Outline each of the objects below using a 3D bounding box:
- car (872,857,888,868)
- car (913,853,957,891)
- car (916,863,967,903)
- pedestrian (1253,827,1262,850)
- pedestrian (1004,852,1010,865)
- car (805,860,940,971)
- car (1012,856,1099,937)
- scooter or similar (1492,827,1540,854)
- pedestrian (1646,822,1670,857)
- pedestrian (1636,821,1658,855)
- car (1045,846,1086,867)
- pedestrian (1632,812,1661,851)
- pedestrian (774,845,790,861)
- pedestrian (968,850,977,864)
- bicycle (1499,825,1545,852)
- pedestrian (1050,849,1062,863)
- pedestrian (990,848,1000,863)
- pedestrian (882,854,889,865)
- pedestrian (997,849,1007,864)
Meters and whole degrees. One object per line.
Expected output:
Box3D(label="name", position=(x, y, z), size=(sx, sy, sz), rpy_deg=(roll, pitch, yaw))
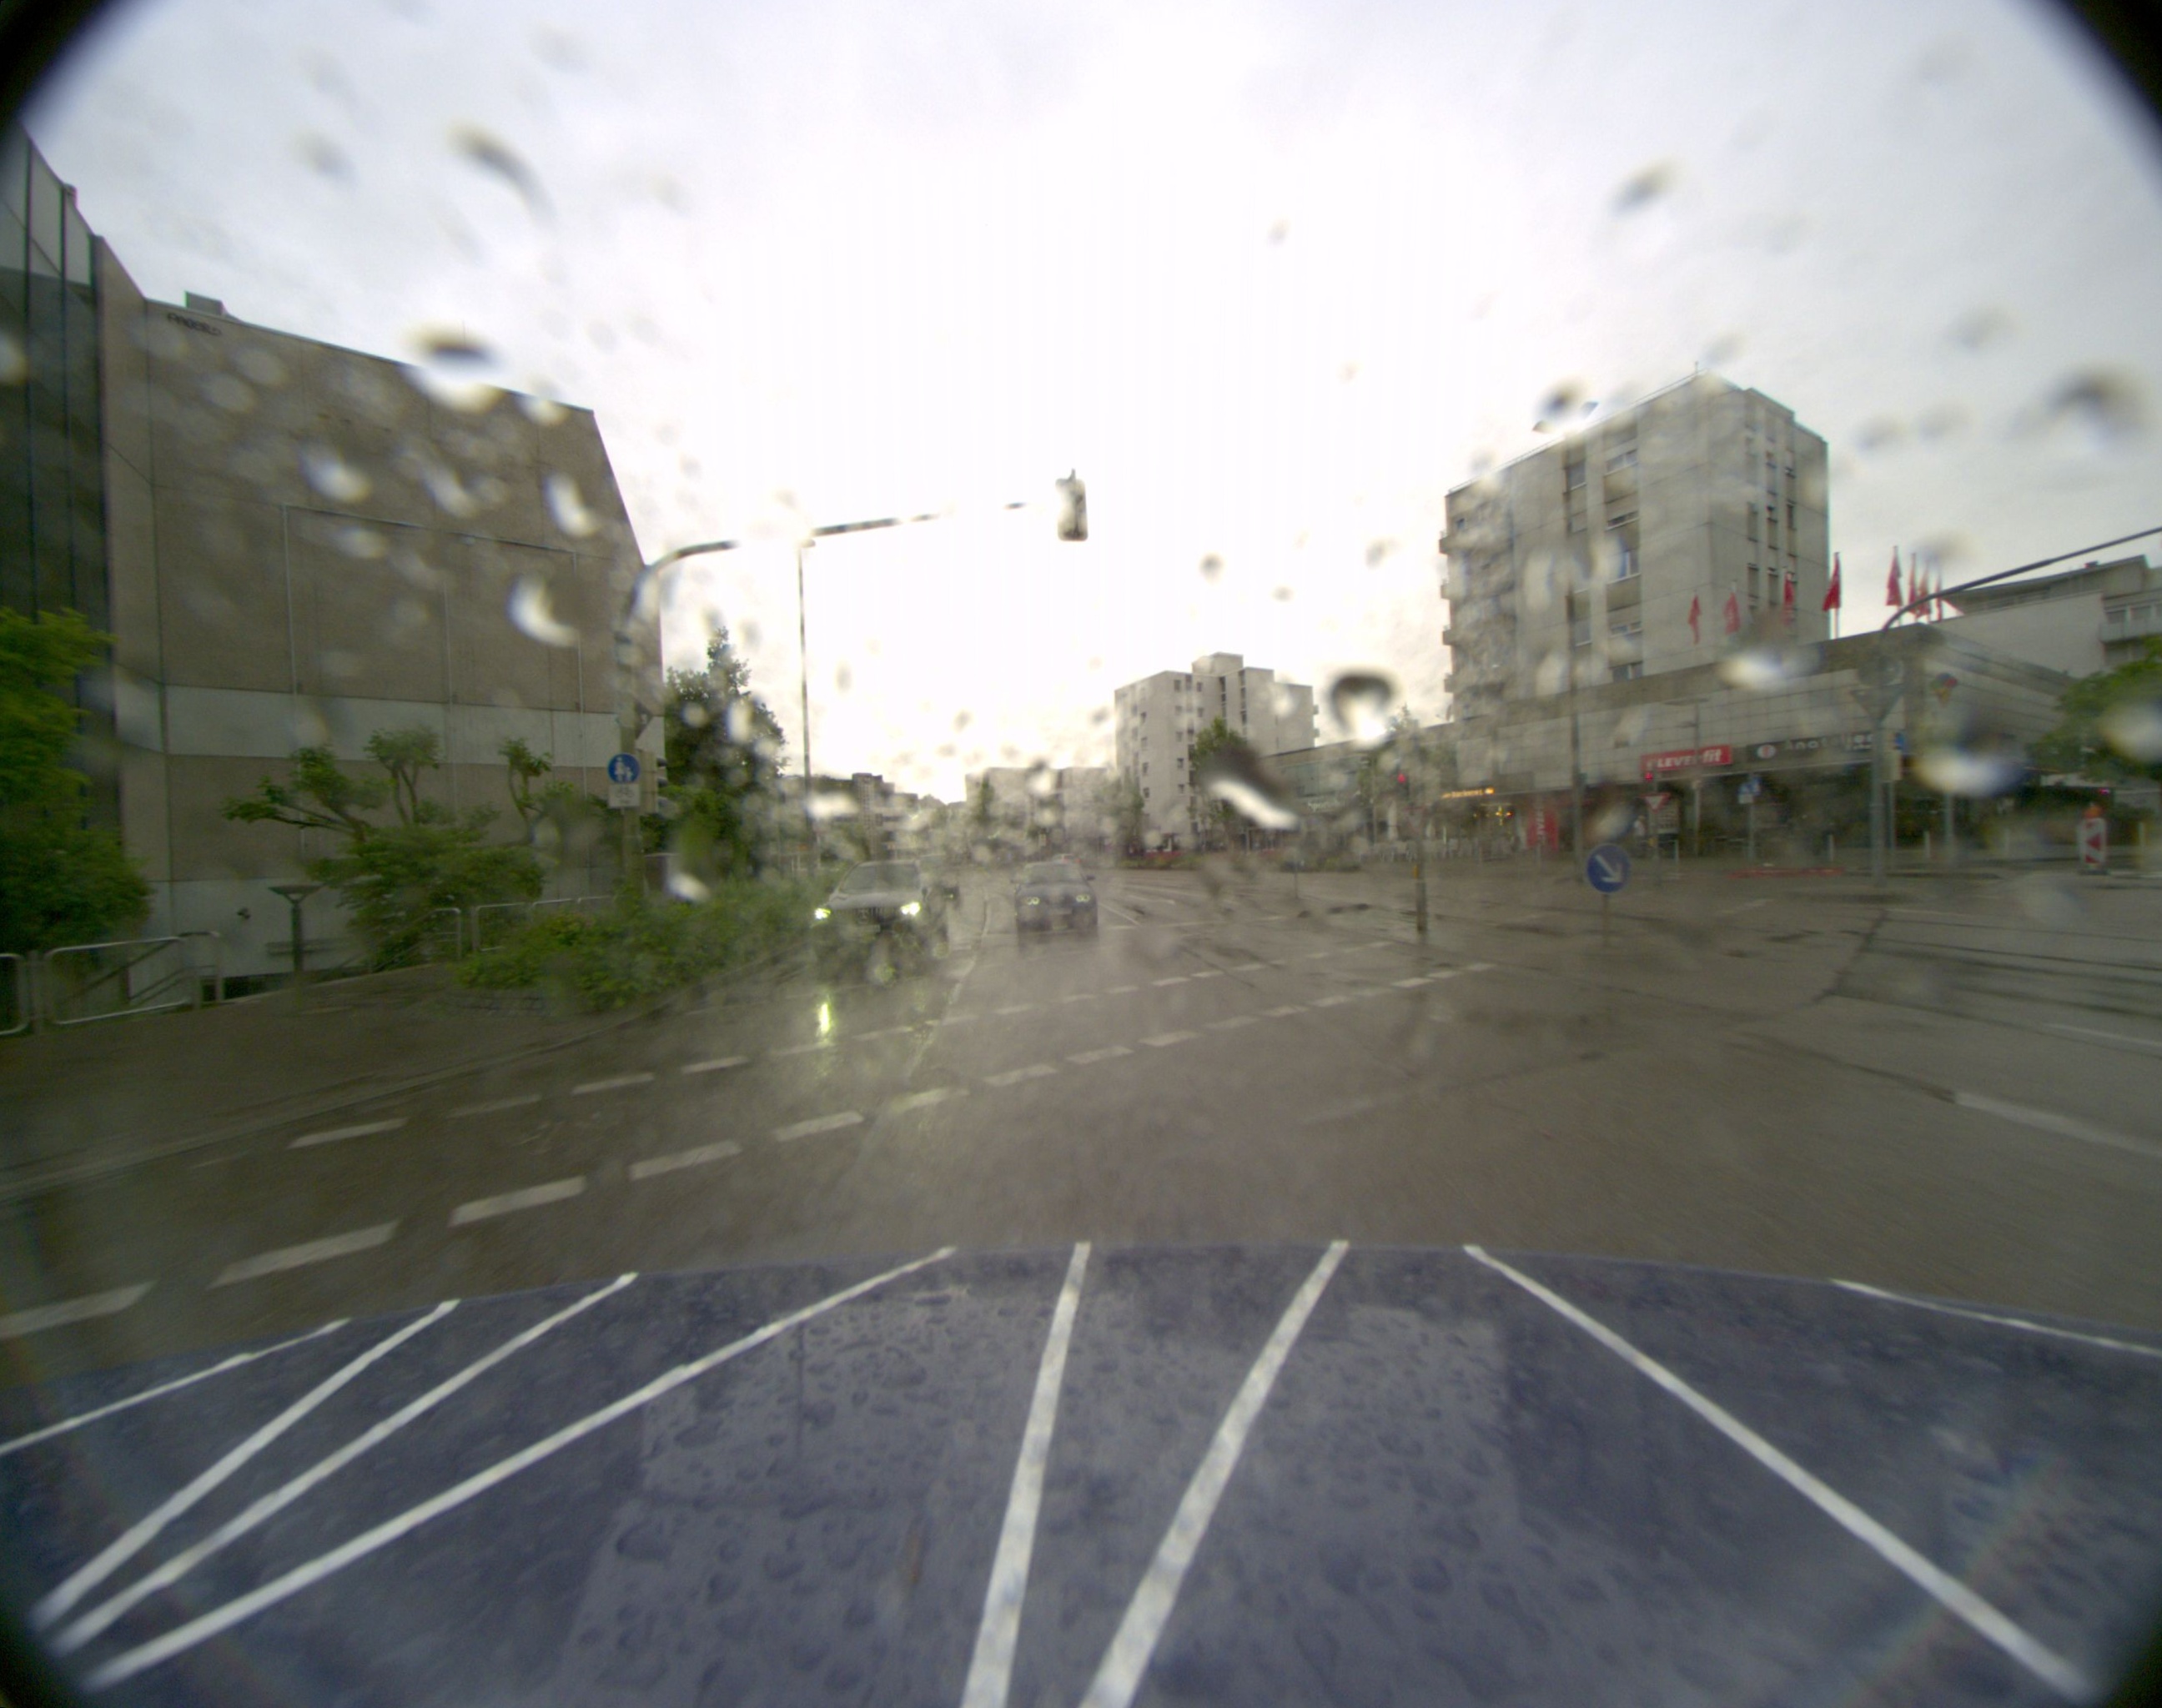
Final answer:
Box3D(label="car", position=(-29.882, 1.245, 112.968), size=(1.848, 1.452, 4.804), rpy_deg=(-3, 1, -11))
Box3D(label="car", position=(-8.316, 0.947, 43.042), size=(2.003, 1.883, 4.580), rpy_deg=(-4, 1, -15))
Box3D(label="car", position=(-5.676, 1.131, 31.349), size=(1.636, 1.378, 4.512), rpy_deg=(-3, 1, -6))
Box3D(label="pedestrian", position=(13.921, -1.212, 59.859), size=(0.427, 1.837, 0.500), rpy_deg=(-3, 1, -19))
Box3D(label="pedestrian", position=(-10.169, 0.680, 104.209), size=(0.550, 1.740, 0.679), rpy_deg=(-3, 1, -28))
Box3D(label="car", position=(-3.706, 0.984, 14.246), size=(1.907, 1.611, 4.331), rpy_deg=(-3, 1, -9))
Box3D(label="car", position=(-0.488, 0.858, 17.332), size=(1.676, 1.534, 3.913), rpy_deg=(-3, 0, 0))
Box3D(label="scooter or similar", position=(21.059, -0.659, 36.770), size=(2.596, 1.167, 0.641), rpy_deg=(-3, 1, -27))
Box3D(label="pedestrian", position=(23.042, -0.585, 30.351), size=(0.497, 1.340, 0.537), rpy_deg=(-3, 1, 6))
Box3D(label="pedestrian", position=(23.082, -0.653, 31.001), size=(0.497, 1.340, 0.537), rpy_deg=(-3, 2, 4))
Box3D(label="car", position=(-1.430, 0.235, 67.410), size=(1.894, 1.673, 4.496), rpy_deg=(-4, 1, -25))
Box3D(label="pedestrian", position=(25.022, -0.997, 33.639), size=(0.657, 1.683, 0.715), rpy_deg=(-3, 1, -4))
Box3D(label="pedestrian", position=(-23.162, -0.069, 58.791), size=(1.034, 1.274, 0.690), rpy_deg=(-1, 0, -31))
Box3D(label="pedestrian", position=(-15.669, 0.433, 109.973), size=(0.907, 1.904, 0.975), rpy_deg=(-3, 1, -30))
Box3D(label="bicycle", position=(22.386, -0.784, 38.557), size=(2.556, 1.216, 0.695), rpy_deg=(-3, 1, -26))
Box3D(label="pedestrian", position=(-2.911, 0.260, 88.843), size=(1.012, 1.636, 0.725), rpy_deg=(-4, 2, -30))
Box3D(label="pedestrian", position=(-11.515, 0.225, 101.576), size=(0.907, 2.002, 0.975), rpy_deg=(-3, 1, -30))
Box3D(label="pedestrian", position=(-33.214, 0.911, 129.150), size=(0.840, 1.733, 0.584), rpy_deg=(-4, 2, -24))
Box3D(label="pedestrian", position=(-10.626, 0.298, 102.510), size=(0.907, 2.002, 0.975), rpy_deg=(-3, 1, -30))
